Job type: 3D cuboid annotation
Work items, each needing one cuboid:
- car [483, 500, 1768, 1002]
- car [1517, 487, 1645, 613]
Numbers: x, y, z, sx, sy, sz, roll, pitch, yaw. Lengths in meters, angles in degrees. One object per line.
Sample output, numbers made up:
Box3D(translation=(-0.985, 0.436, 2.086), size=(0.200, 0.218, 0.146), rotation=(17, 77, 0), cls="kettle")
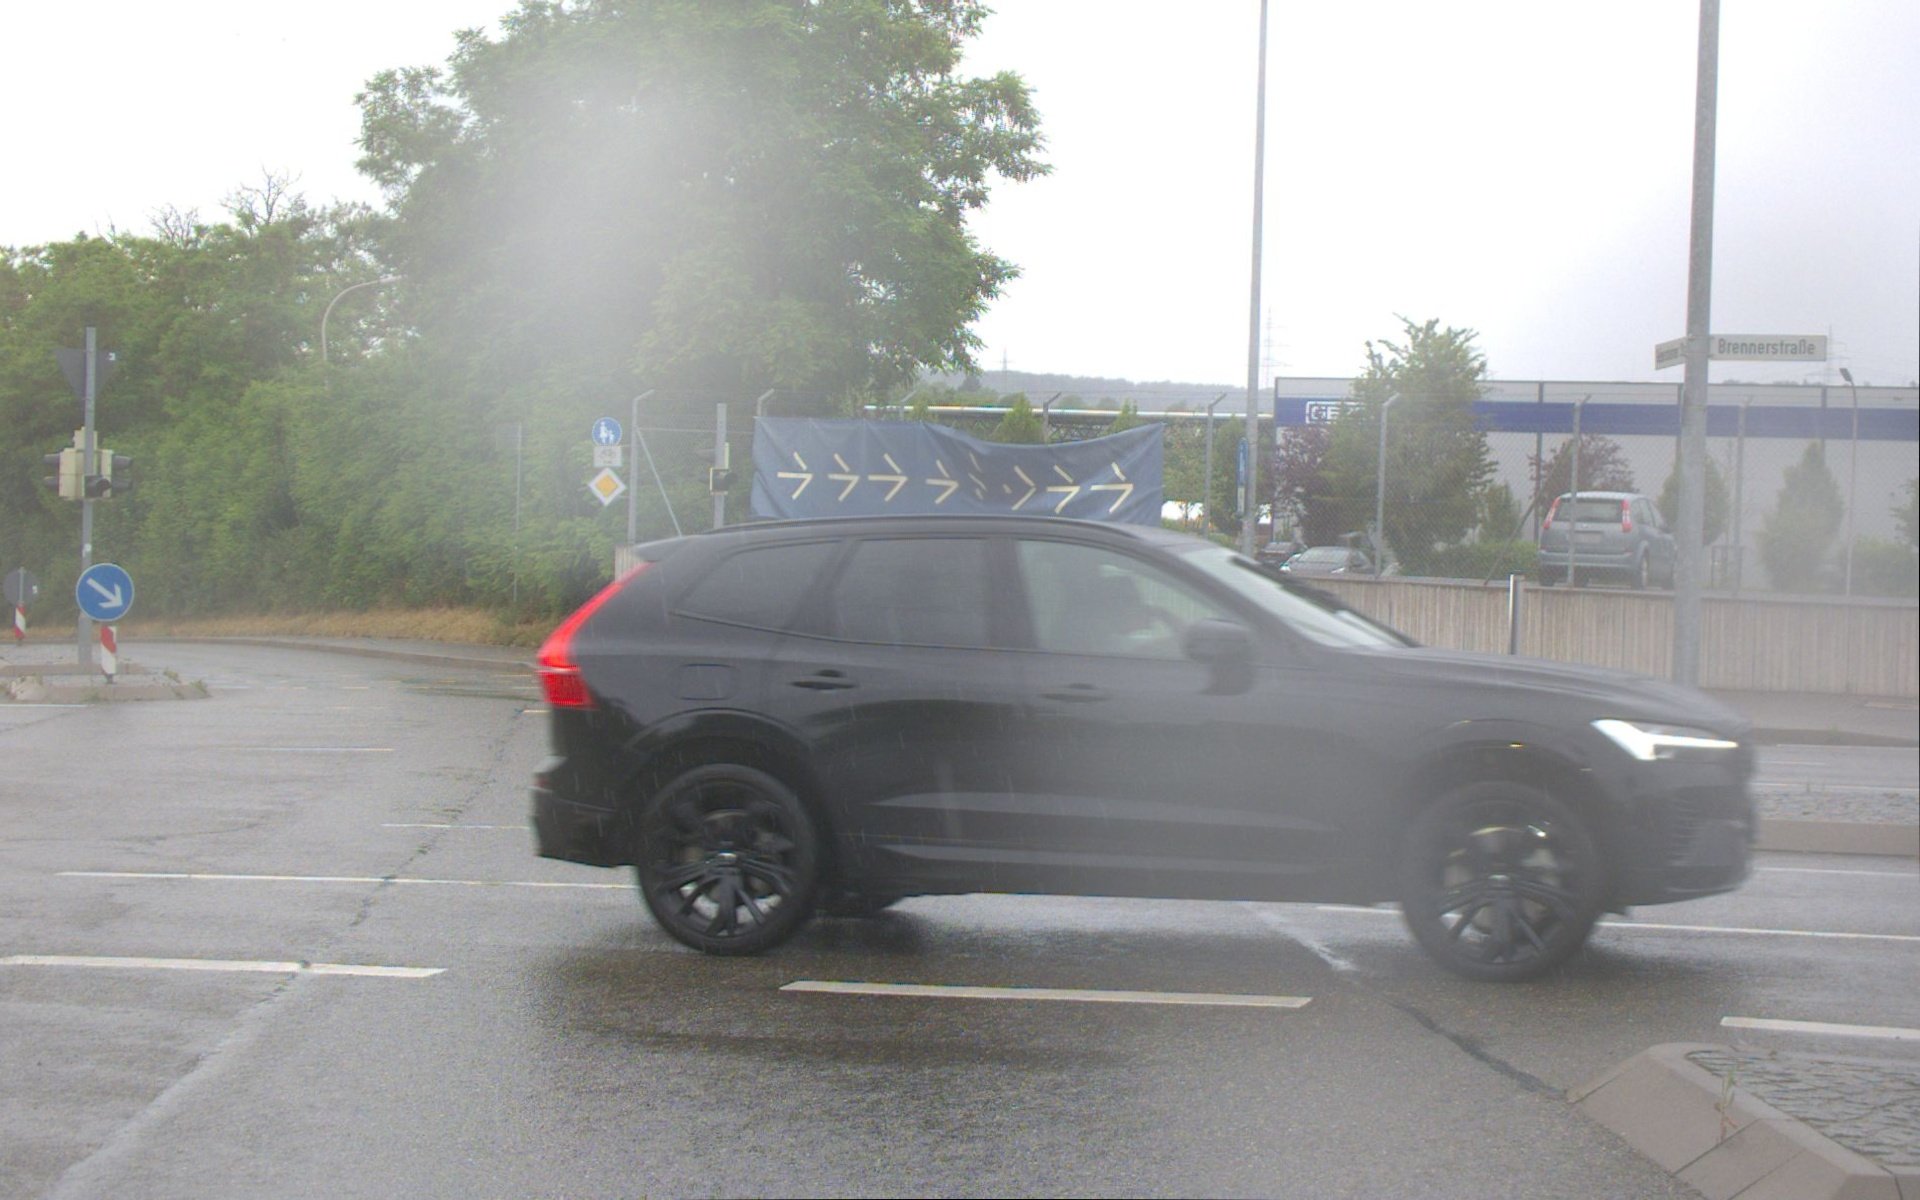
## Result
Box3D(translation=(0.711, 0.484, 13.262), size=(4.620, 1.673, 2.033), rotation=(1, 1, 15), cls="car")
Box3D(translation=(10.451, -0.847, 57.681), size=(1.994, 2.007, 3.998), rotation=(1, 1, 11), cls="car")
